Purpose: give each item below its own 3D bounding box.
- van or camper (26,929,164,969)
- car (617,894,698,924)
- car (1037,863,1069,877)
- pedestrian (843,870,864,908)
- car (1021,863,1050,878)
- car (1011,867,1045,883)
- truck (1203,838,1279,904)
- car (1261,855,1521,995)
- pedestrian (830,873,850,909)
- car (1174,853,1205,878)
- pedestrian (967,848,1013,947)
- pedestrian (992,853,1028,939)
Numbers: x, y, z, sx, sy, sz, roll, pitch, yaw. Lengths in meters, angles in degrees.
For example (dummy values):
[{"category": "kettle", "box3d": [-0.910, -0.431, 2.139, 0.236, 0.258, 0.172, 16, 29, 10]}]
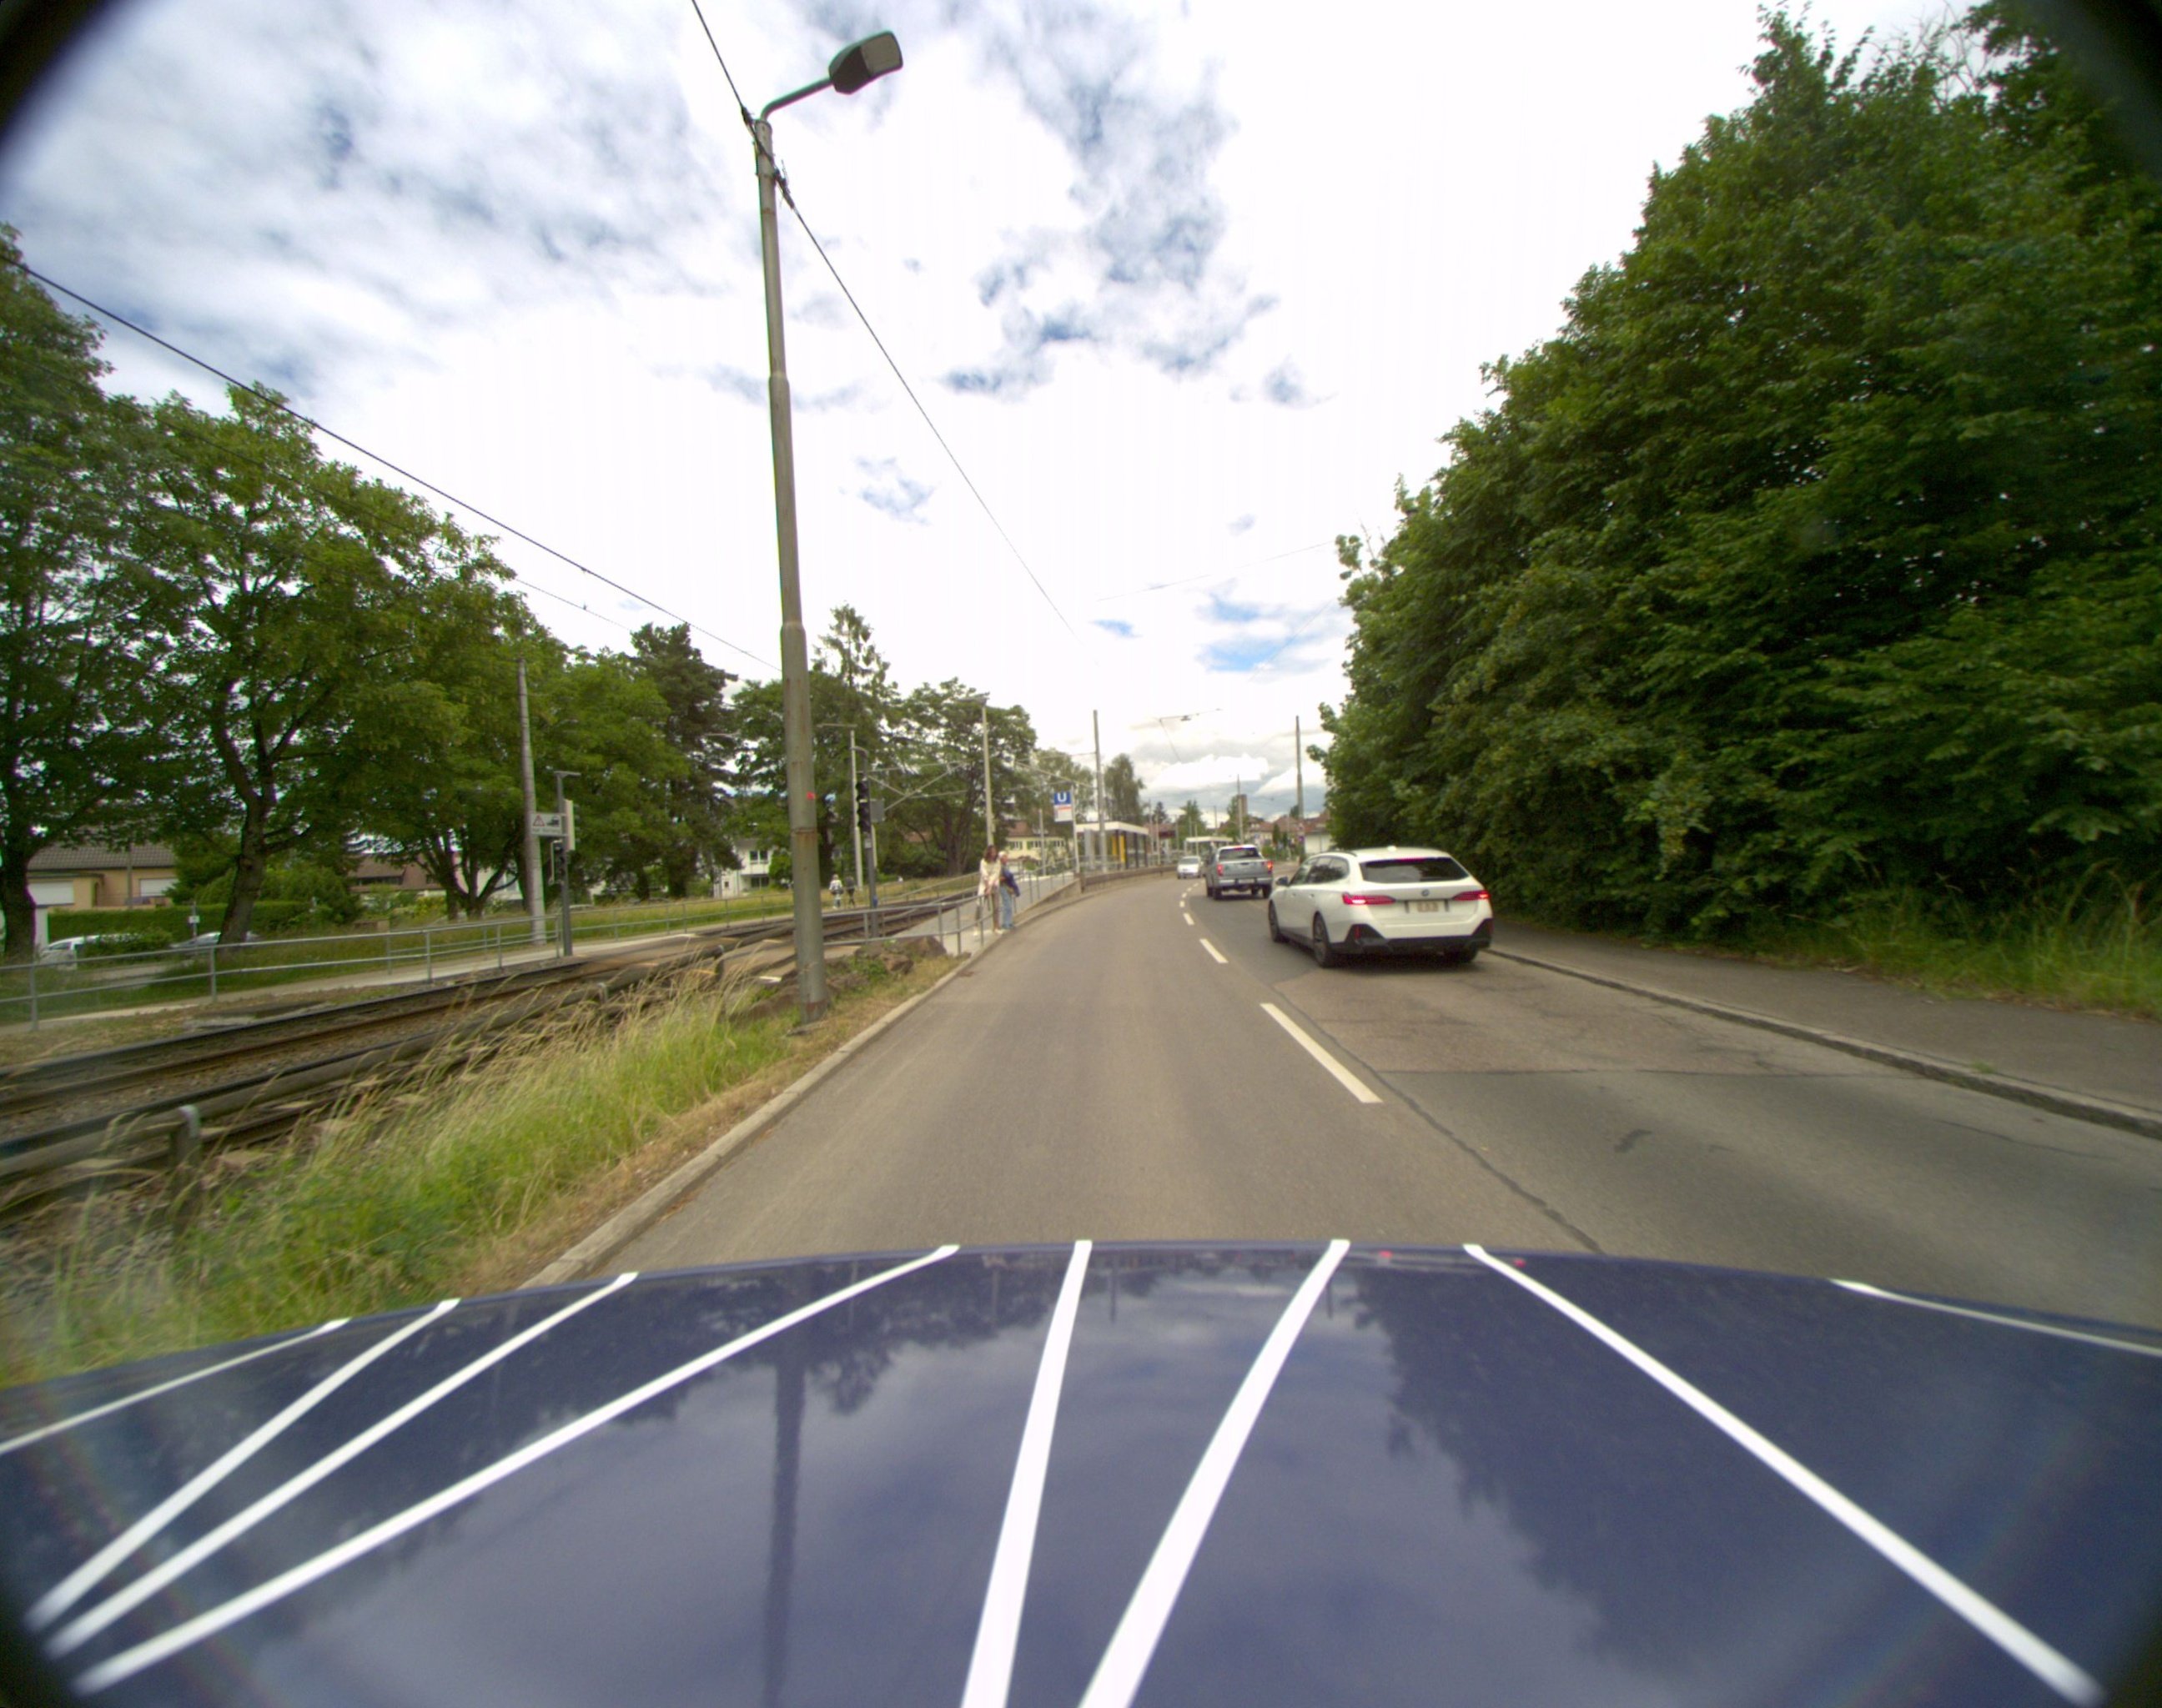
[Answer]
[{"category": "van or camper", "box3d": [-55.663, 5.346, 43.041, 4.338, 1.641, 1.995, -4, -1, -39]}, {"category": "car", "box3d": [-26.228, 3.400, 47.203, 1.792, 1.431, 4.007, -4, -1, 27]}, {"category": "car", "box3d": [-2.977, 1.701, 82.376, 1.996, 1.340, 4.005, -4, -1, 19]}, {"category": "pedestrian", "box3d": [-10.114, 1.560, 33.750, 0.493, 1.612, 0.791, -4, 0, 9]}, {"category": "car", "box3d": [-6.642, 2.351, 110.616, 1.995, 1.851, 4.243, -4, -1, 34]}, {"category": "car", "box3d": [-5.363, 2.133, 77.614, 1.996, 1.340, 4.005, -4, -1, 19]}, {"category": "truck", "box3d": [5.426, 0.533, 26.411, 1.852, 1.954, 4.960, -3, 0, 4]}, {"category": "car", "box3d": [3.972, 0.791, 10.729, 1.934, 1.513, 4.659, -1, 0, 3]}, {"category": "pedestrian", "box3d": [-10.724, 1.638, 33.796, 0.493, 1.552, 0.693, -4, 0, 9]}, {"category": "car", "box3d": [8.029, 0.844, 55.980, 1.732, 1.639, 4.231, -4, -1, 14]}, {"category": "pedestrian", "box3d": [-1.767, 0.817, 14.687, 0.661, 1.830, 0.596, -5, 3, -17]}, {"category": "pedestrian", "box3d": [-1.499, 0.856, 15.919, 0.475, 1.719, 0.799, -5, 3, -18]}]
